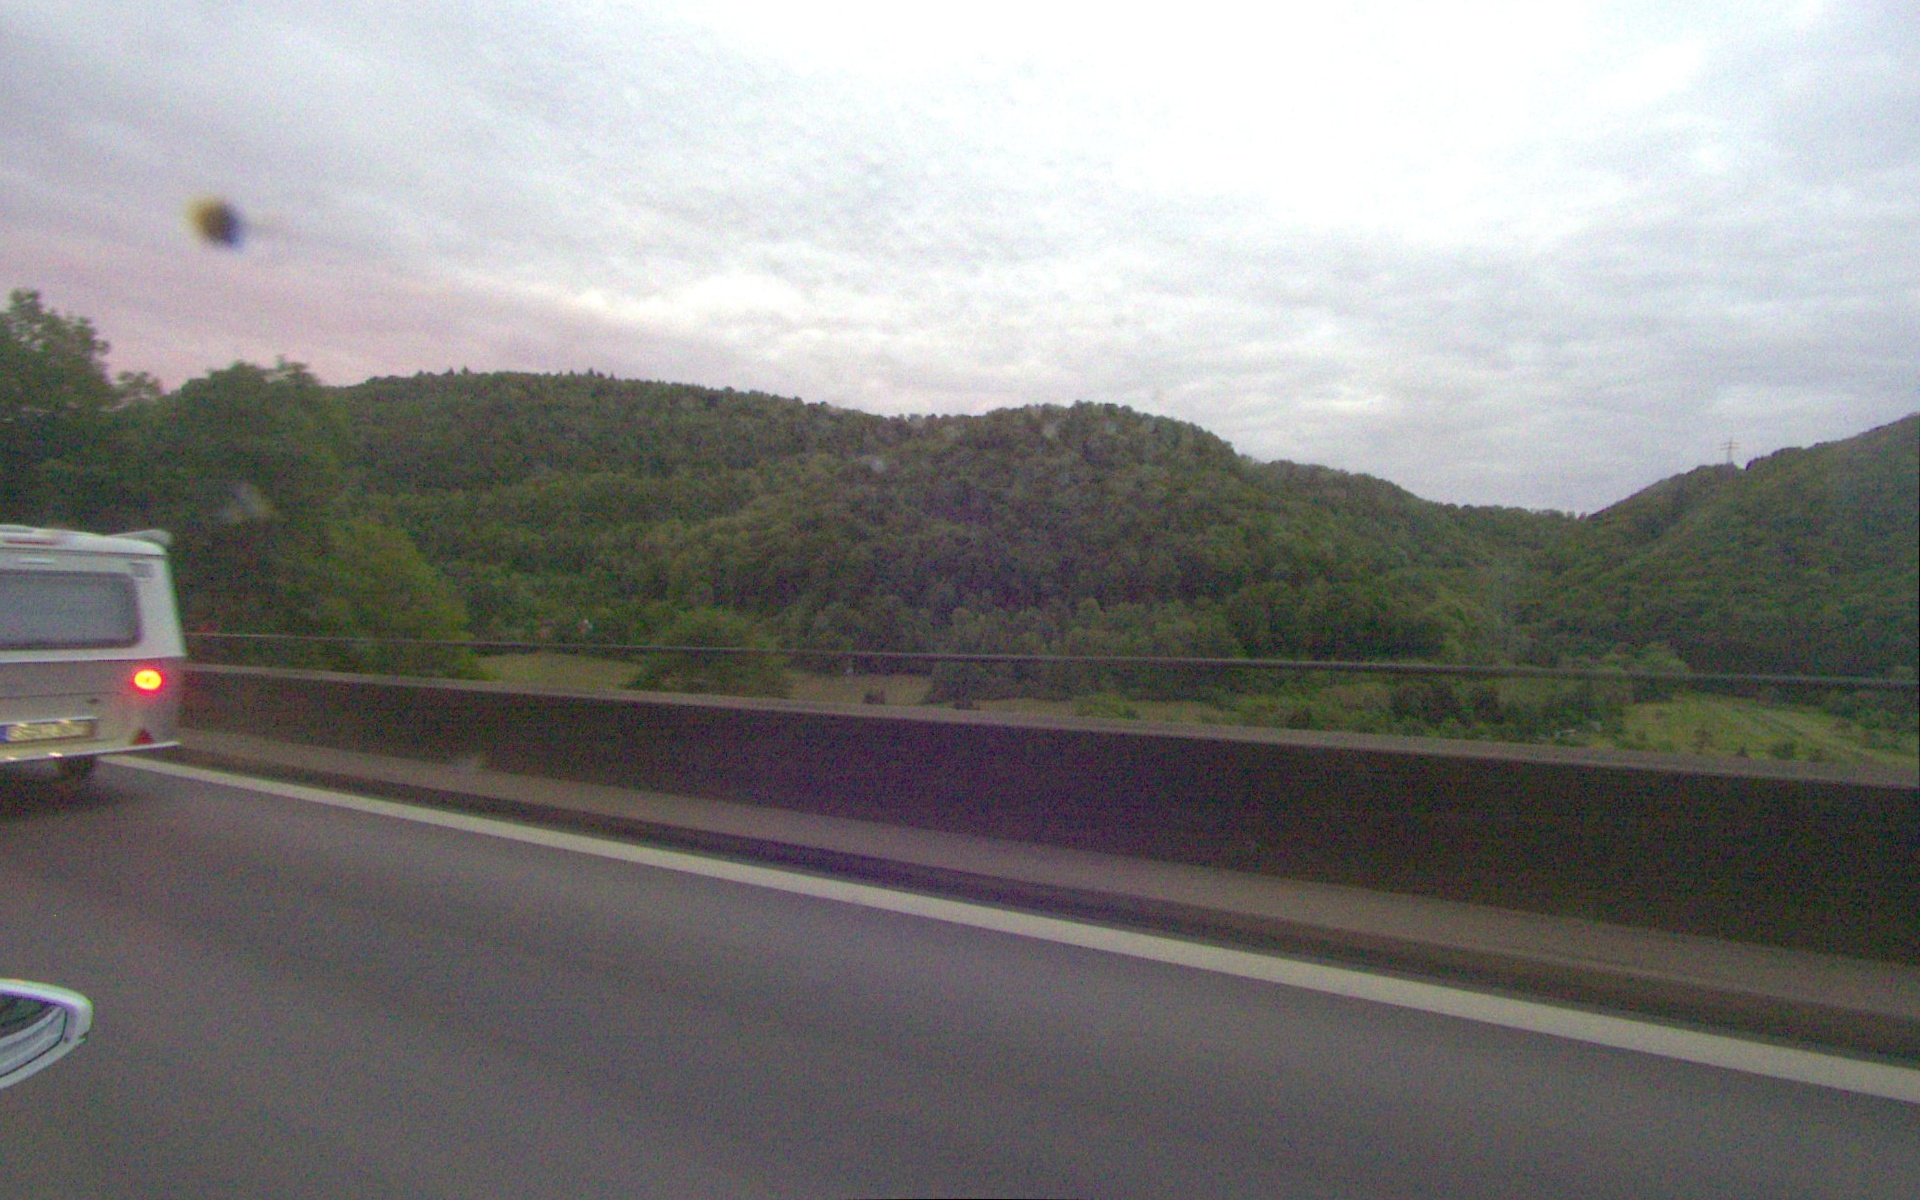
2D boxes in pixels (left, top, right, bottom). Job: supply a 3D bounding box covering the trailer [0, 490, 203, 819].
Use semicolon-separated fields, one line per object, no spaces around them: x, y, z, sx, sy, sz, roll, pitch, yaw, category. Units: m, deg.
-9.398;0.421;9.068;5.852;2.407;2.050;0;1;32;trailer
